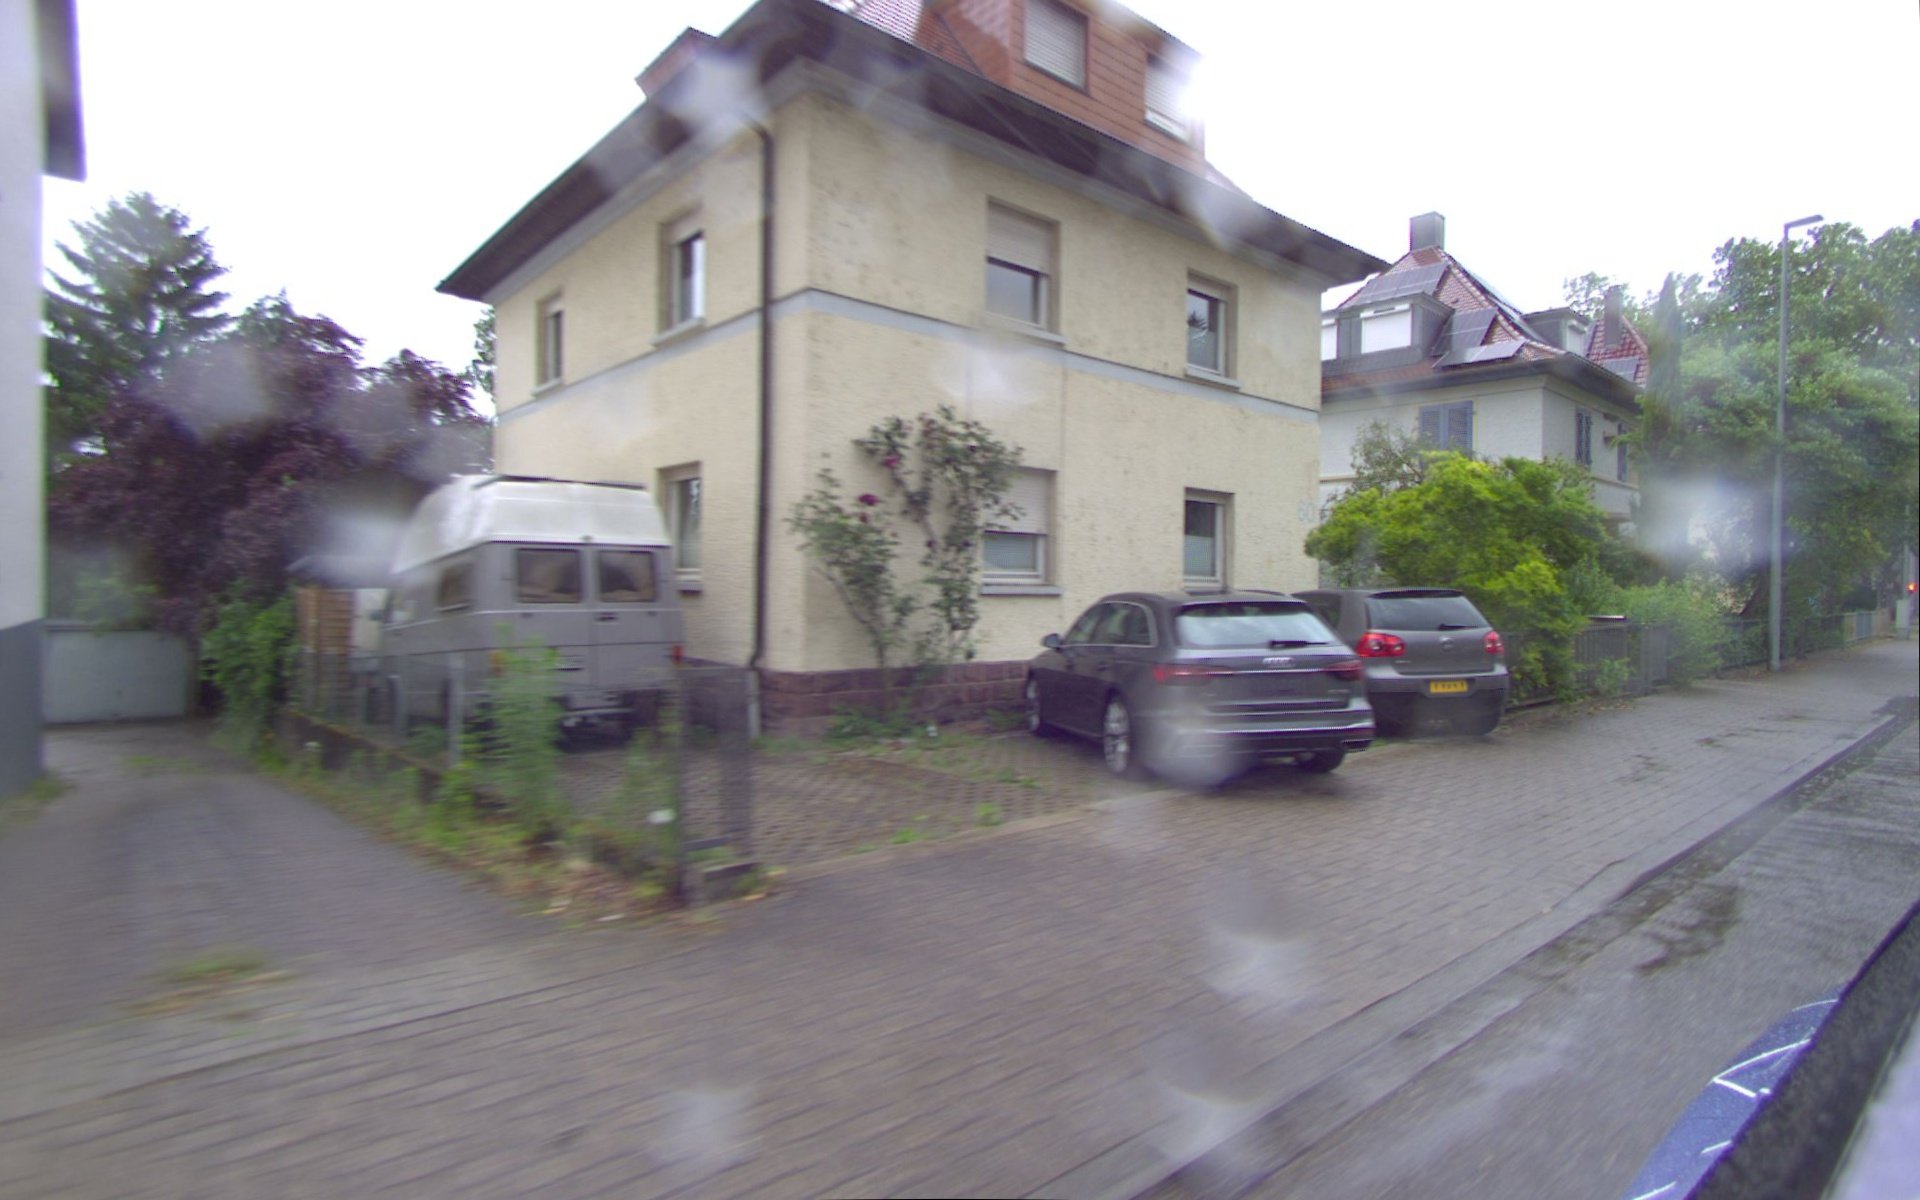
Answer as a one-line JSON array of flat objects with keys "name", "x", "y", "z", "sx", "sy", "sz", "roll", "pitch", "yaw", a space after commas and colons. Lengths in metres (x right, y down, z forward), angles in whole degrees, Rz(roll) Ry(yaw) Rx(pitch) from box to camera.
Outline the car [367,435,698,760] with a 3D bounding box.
[{"name": "car", "x": -4.829, "y": 0.030, "z": 11.040, "sx": 1.970, "sy": 2.796, "sz": 4.467, "roll": 4, "pitch": -3, "yaw": -40}]

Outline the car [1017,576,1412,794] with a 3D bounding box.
[{"name": "car", "x": 1.823, "y": 0.532, "z": 8.858, "sx": 1.881, "sy": 1.381, "sz": 4.388, "roll": -1, "pitch": 0, "yaw": -7}]

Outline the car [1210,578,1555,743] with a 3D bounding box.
[{"name": "car", "x": 4.332, "y": 0.532, "z": 11.142, "sx": 1.736, "sy": 1.475, "sz": 4.005, "roll": 1, "pitch": 0, "yaw": -7}]
